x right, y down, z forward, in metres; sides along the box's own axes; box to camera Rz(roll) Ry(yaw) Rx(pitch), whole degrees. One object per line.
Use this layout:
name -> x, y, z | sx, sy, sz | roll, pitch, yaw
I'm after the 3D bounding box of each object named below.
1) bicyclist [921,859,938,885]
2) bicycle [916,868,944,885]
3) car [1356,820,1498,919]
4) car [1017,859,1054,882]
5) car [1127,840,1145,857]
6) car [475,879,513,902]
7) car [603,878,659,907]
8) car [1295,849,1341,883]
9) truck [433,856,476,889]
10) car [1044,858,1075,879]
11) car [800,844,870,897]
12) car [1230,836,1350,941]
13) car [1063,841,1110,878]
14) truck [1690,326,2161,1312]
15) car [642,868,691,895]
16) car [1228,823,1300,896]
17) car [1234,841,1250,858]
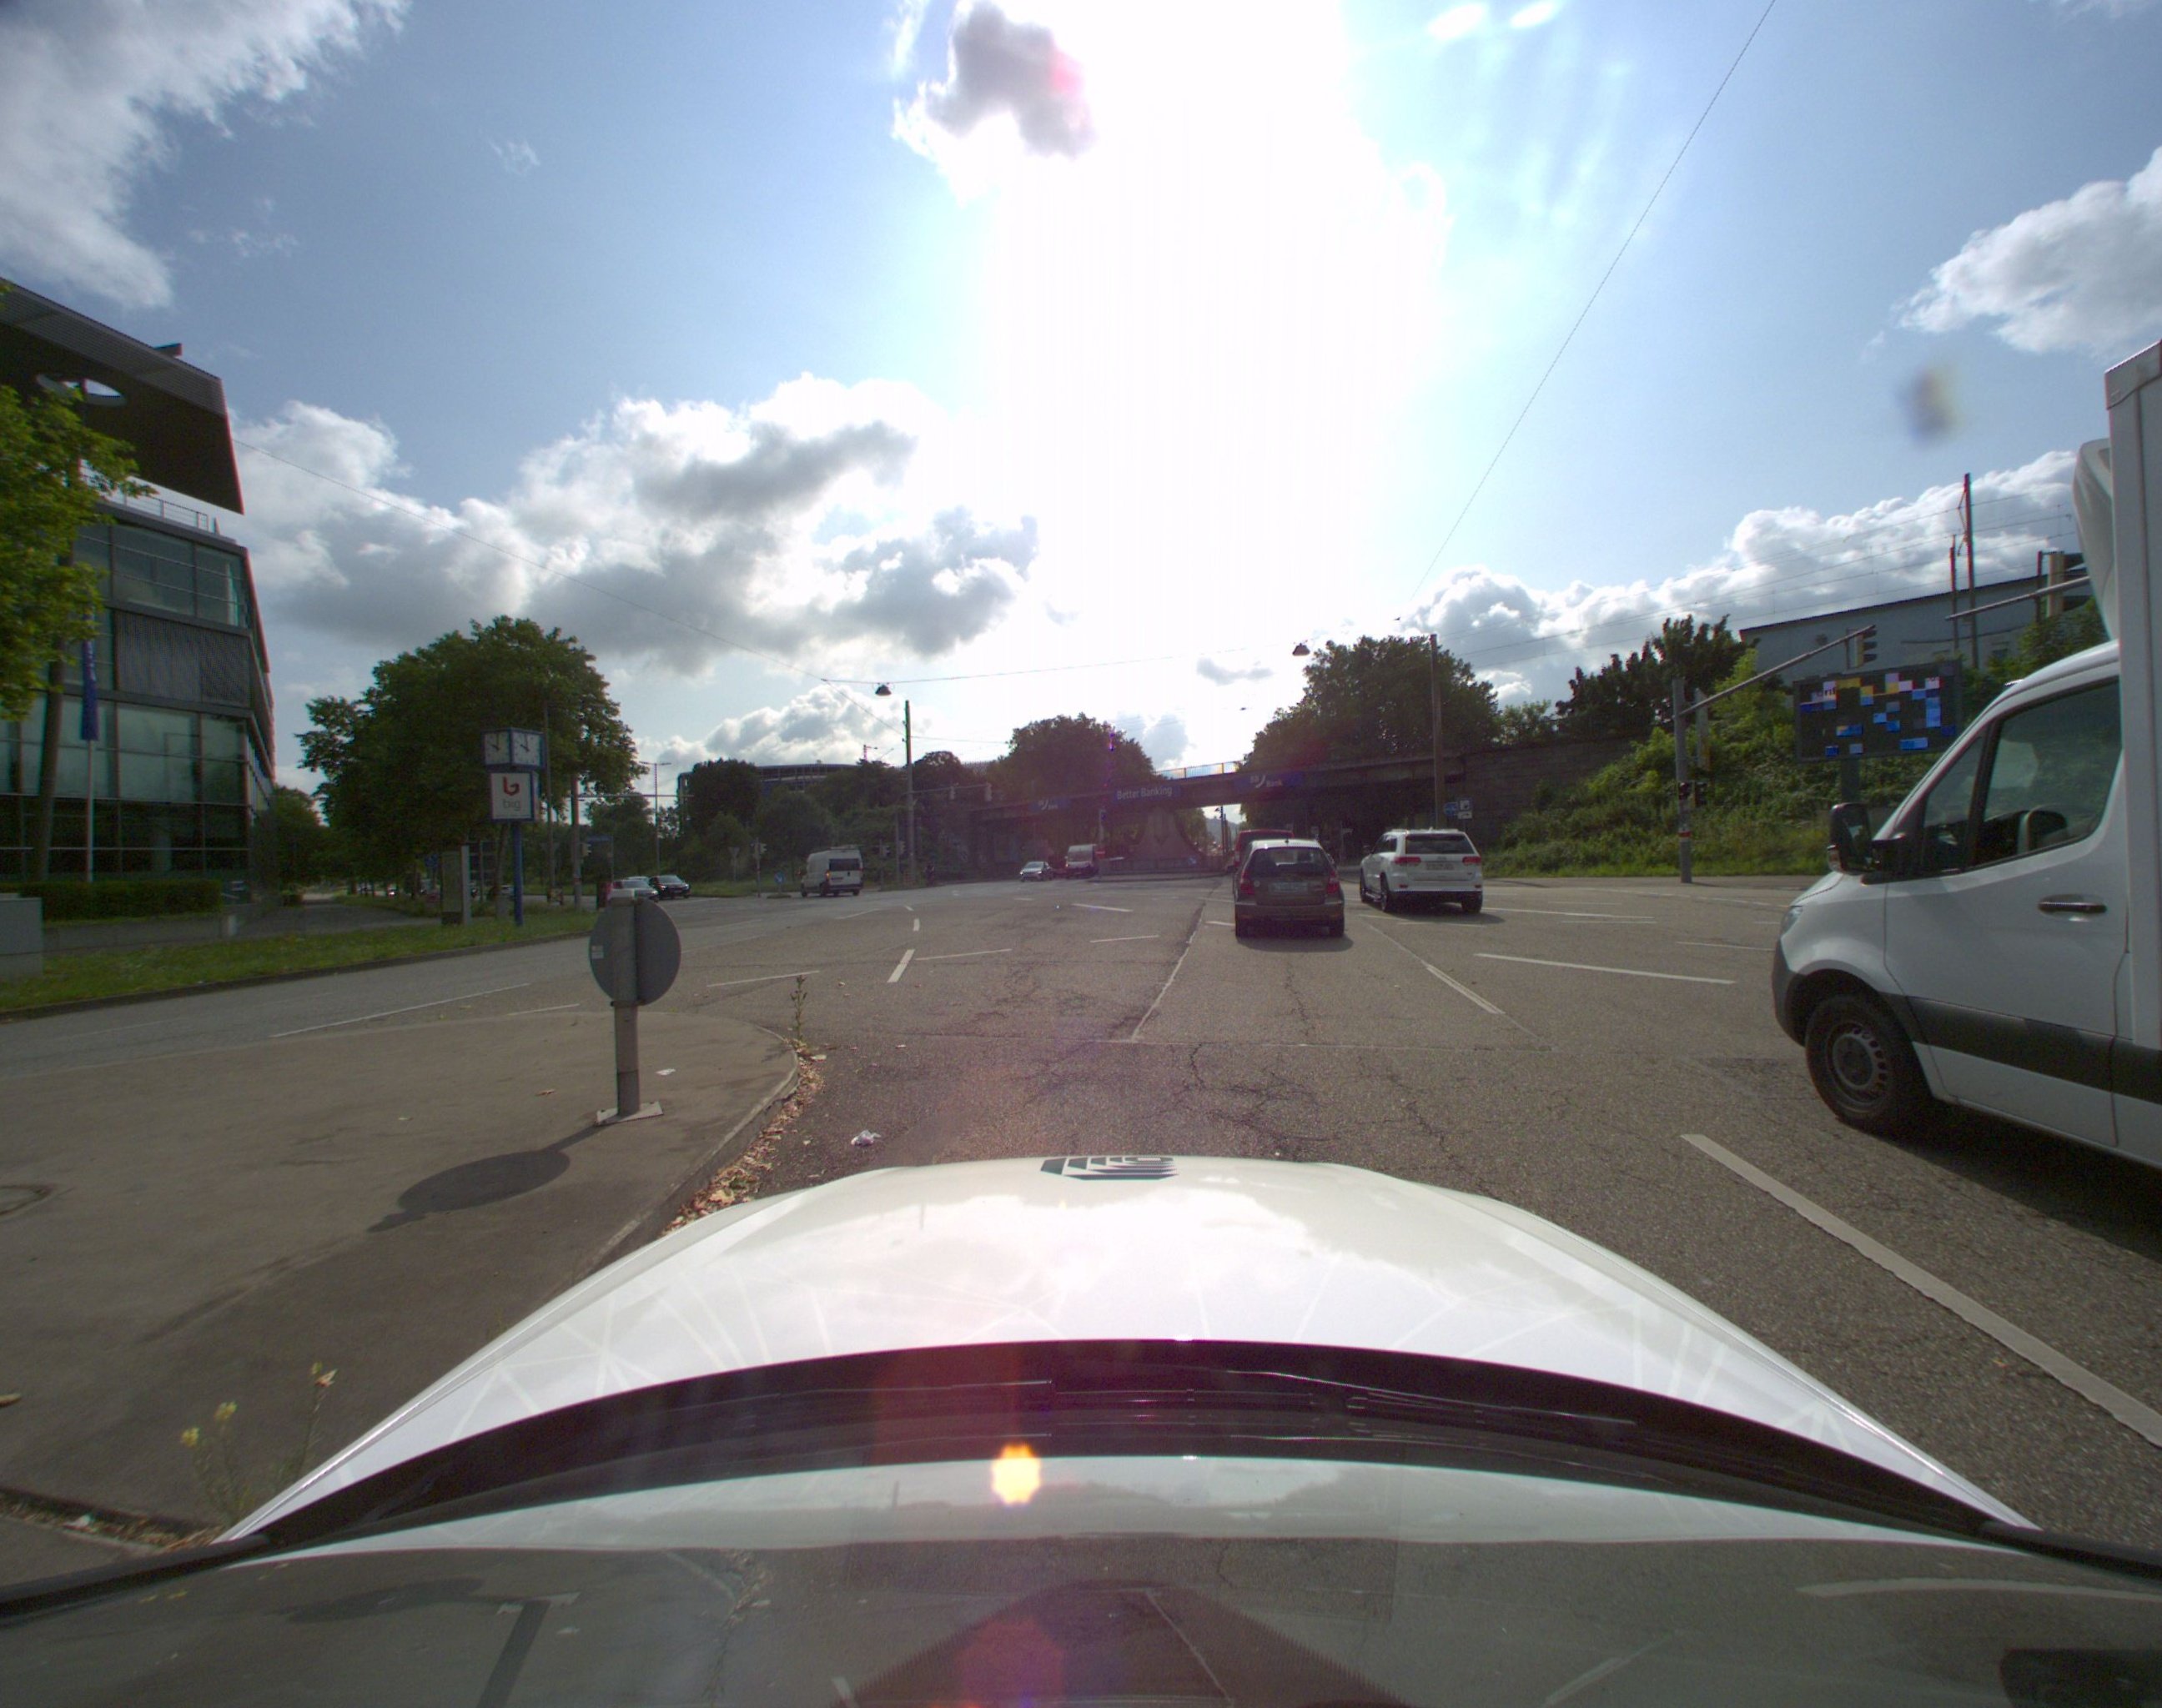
bicyclist -> -10.312, 1.231, 55.462 | 0.836, 1.678, 0.827 | -3, -2, 18
bicycle -> -10.285, 1.545, 55.517 | 0.836, 1.093, 2.329 | -3, -1, 18
car -> 7.513, 0.279, 18.174 | 1.982, 1.901, 4.523 | -1, 1, 11
car -> -3.271, 1.192, 58.990 | 1.692, 1.476, 4.011 | -6, -2, 10
car -> 9.596, -0.960, 141.943 | 2.231, 2.578, 5.642 | -4, -2, 11
car -> -44.434, 2.742, 61.612 | 1.744, 1.572, 3.951 | 3, -2, -44
car -> -26.139, 2.269, 47.232 | 1.881, 1.574, 4.512 | 0, -3, -43
car -> 11.689, 0.628, 40.357 | 1.840, 1.522, 3.627 | -2, -2, 11
truck -> -78.396, 2.358, 101.862 | 10.031, 3.888, 2.675 | -2, 0, 44
car -> -1.775, 1.256, 68.893 | 1.756, 1.583, 4.672 | -6, -2, 6
car -> -13.654, 0.981, 44.974 | 2.214, 2.727, 4.877 | 0, -3, -35
car -> 3.592, 0.504, 14.505 | 1.780, 1.608, 3.811 | -1, 1, 11
car -> 0.465, 0.431, 60.824 | 2.243, 2.526, 5.644 | -3, -2, 12
truck -> 4.540, -0.143, 1.811 | 2.433, 3.121, 6.042 | -2, -2, 9
car -> -26.839, 1.803, 52.654 | 1.723, 1.587, 4.308 | 0, -4, -43
car -> 5.587, 0.155, 25.271 | 1.943, 2.017, 4.690 | -1, 0, 11
car -> 19.897, -0.562, 100.814 | 1.943, 2.017, 4.690 | -1, -1, 11
